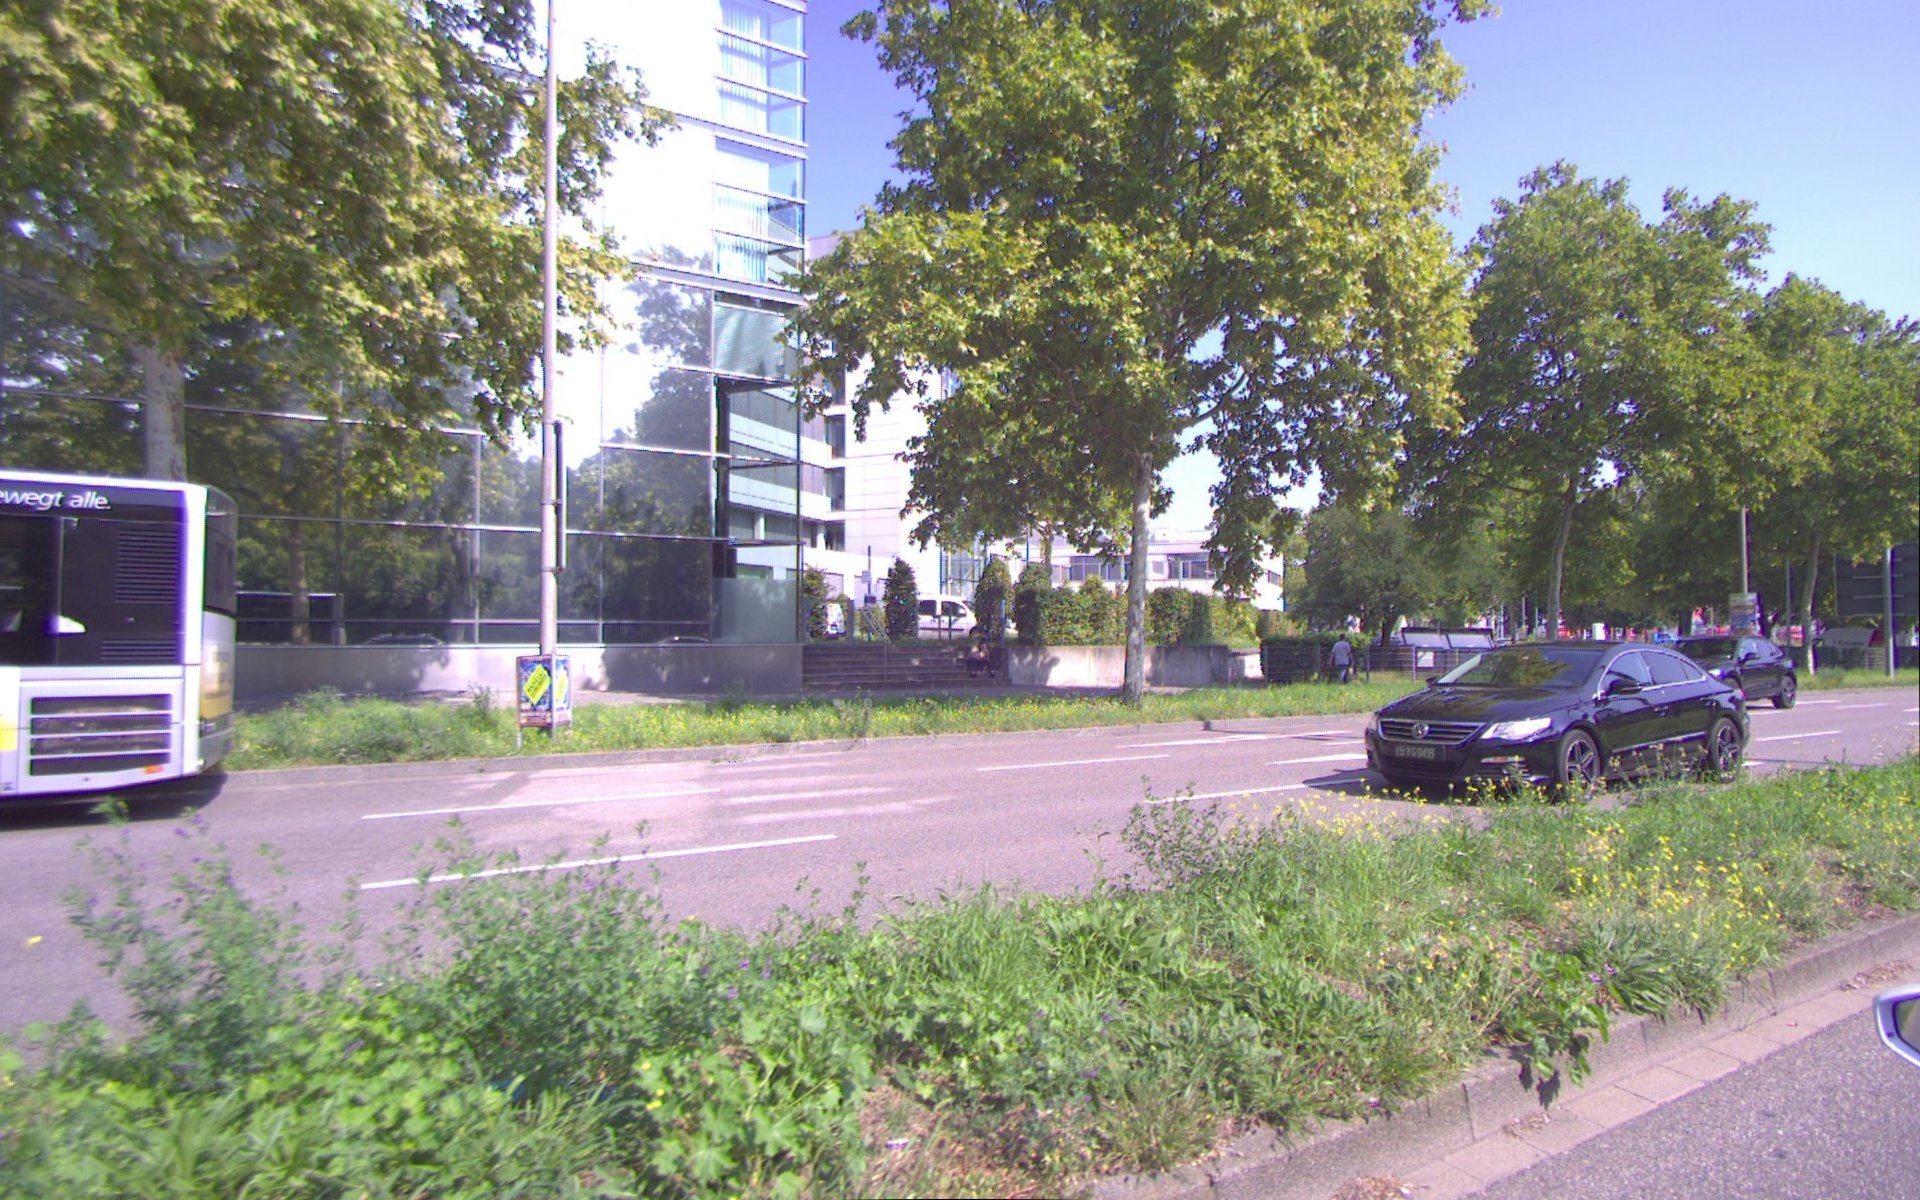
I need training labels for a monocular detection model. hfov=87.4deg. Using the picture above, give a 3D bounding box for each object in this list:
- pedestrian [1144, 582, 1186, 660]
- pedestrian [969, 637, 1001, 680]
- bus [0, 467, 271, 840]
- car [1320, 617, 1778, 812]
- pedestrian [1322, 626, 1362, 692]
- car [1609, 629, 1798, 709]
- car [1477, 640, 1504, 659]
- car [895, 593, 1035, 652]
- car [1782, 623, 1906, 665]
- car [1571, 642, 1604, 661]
[{"bbox_3d":[6.529,0.645,31.992,0.902,2.423,0.966,-1,1,-24],"label":"pedestrian"},{"bbox_3d":[0.695,1.624,27.931,0.556,1.124,0.730,-2,1,-35],"label":"pedestrian"},{"bbox_3d":[-11.083,0.353,6.413,10.782,2.729,2.649,2,-4,-31],"label":"bus"},{"bbox_3d":[5.818,0.991,9.798,4.589,1.509,1.837,2,-4,-30],"label":"car"},{"bbox_3d":[12.290,1.873,32.334,0.995,2.041,1.269,-1,1,12],"label":"pedestrian"},{"bbox_3d":[16.876,1.549,22.756,4.557,1.626,1.837,3,-2,-31],"label":"car"},{"bbox_3d":[50.017,4.638,94.737,1.895,1.472,3.997,-1,1,24],"label":"car"},{"bbox_3d":[0.173,0.768,35.406,4.527,1.927,1.998,-1,1,25],"label":"car"},{"bbox_3d":[55.913,2.725,63.652,2.253,2.368,5.554,-2,1,-32],"label":"car"},{"bbox_3d":[56.451,4.623,90.399,1.895,1.472,3.997,-1,1,24],"label":"car"}]
